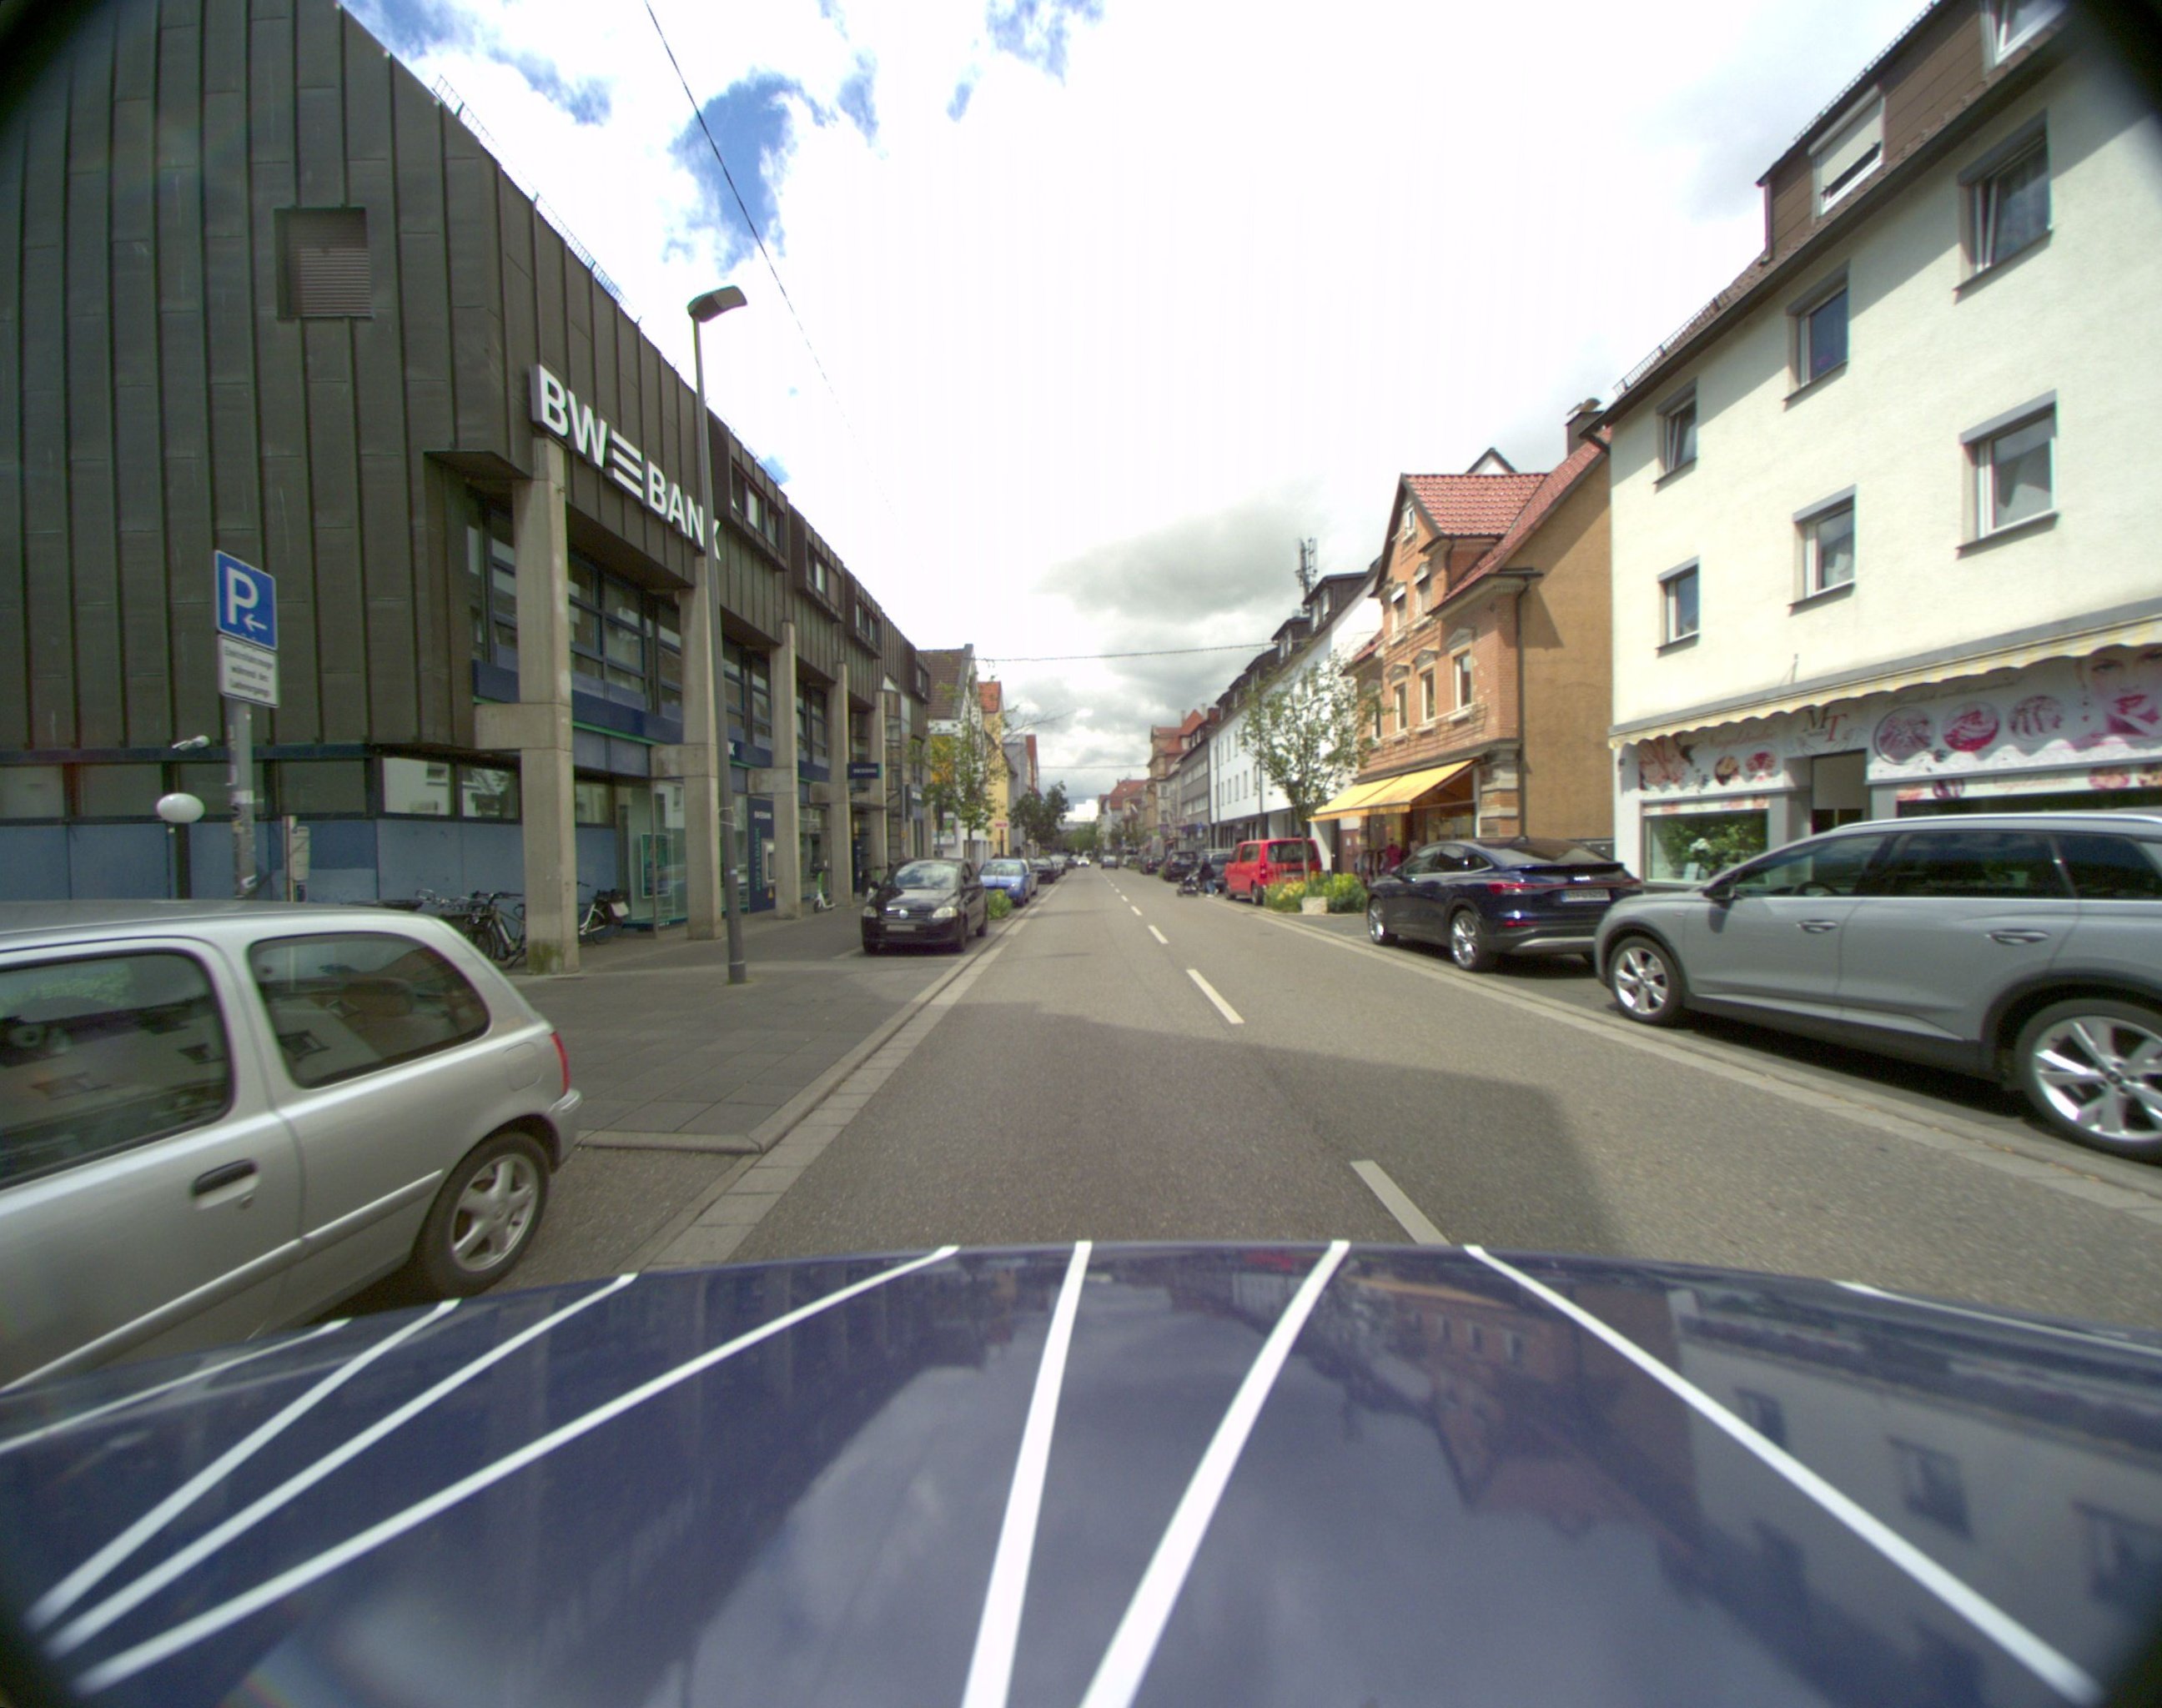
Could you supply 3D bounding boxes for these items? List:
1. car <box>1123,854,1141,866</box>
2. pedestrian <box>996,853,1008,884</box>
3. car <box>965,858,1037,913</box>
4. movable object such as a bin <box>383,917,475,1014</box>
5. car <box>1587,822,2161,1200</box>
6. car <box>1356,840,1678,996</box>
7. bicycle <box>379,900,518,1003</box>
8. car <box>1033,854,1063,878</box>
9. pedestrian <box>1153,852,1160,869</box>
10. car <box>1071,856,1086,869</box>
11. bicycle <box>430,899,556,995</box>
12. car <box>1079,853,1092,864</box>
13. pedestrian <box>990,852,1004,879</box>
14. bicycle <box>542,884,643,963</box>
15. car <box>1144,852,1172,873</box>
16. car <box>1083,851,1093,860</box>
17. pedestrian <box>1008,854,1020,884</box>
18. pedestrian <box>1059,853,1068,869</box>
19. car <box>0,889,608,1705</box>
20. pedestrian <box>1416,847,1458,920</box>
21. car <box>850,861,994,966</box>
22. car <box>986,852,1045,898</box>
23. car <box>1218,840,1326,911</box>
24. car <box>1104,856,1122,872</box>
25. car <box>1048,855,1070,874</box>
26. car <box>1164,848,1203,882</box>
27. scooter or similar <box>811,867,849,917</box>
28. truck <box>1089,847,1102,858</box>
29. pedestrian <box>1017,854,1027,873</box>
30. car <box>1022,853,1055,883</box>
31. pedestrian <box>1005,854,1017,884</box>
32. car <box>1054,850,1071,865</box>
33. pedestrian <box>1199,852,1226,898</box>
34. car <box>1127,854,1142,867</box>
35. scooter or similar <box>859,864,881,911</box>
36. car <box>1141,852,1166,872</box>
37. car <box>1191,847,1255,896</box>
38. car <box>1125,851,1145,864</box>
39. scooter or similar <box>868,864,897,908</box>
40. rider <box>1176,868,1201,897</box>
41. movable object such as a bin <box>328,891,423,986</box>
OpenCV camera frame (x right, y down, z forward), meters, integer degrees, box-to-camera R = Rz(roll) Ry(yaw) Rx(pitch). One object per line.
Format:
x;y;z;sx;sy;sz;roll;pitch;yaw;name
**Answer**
6.768;0.741;101.161;1.850;1.390;4.035;-3;1;-2;car
-4.874;0.894;46.664;0.589;1.830;0.576;-3;1;1;pedestrian
-2.496;0.949;24.608;1.725;1.485;4.109;-3;1;2;car
-7.389;1.249;8.630;0.488;0.993;0.554;-2;1;3;movable object such as a bin
5.410;0.646;4.521;1.804;1.594;4.350;-1;0;-2;car
5.380;0.673;10.181;1.804;1.588;4.389;-2;0;1;car
-8.150;1.215;9.872;0.426;1.113;1.502;-2;1;3;bicycle
-2.295;0.797;53.267;1.725;1.467;4.354;-3;1;2;car
7.689;0.643;77.819;0.549;1.747;0.728;-3;1;-3;pedestrian
-0.305;1.036;94.417;1.724;1.517;3.598;-1;0;1;car
-7.607;1.166;9.909;0.426;1.075;1.502;0;0;3;bicycle
0.683;0.616;112.145;1.804;1.594;4.203;1;0;-1;car
-5.467;0.729;49.413;0.743;1.727;0.757;-3;1;1;pedestrian
-8.085;1.115;12.656;0.426;1.113;1.741;-2;1;3;bicycle
6.109;0.637;60.680;1.794;1.495;4.177;-3;1;0;car
1.380;0.297;153.180;1.536;1.521;3.757;-3;1;-4;car
-4.132;0.903;46.556;0.589;1.830;0.576;-3;1;1;pedestrian
-2.030;0.768;87.020;0.978;1.853;0.864;1;1;-1;pedestrian
-2.946;0.931;1.424;1.613;1.486;3.795;2;0;2;car
8.133;0.662;17.380;0.590;1.623;0.661;-3;1;1;pedestrian
-2.623;0.917;13.359;1.613;1.523;3.795;0;0;2;car
-2.520;0.772;30.311;1.725;1.567;4.429;4;0;2;car
5.690;0.556;23.277;1.821;1.878;4.839;-3;1;-3;car
3.658;1.149;87.408;1.910;1.554;4.645;-3;1;1;car
-1.892;0.913;64.969;1.694;1.463;4.523;-3;-1;-2;car
5.771;0.582;43.193;1.820;1.745;4.669;-2;1;3;car
-6.695;0.991;20.348;0.423;1.238;1.561;-3;1;0;scooter or similar
3.060;-0.373;160.883;2.113;2.292;6.472;-3;1;-5;truck
-4.840;0.750;62.850;0.751;1.544;0.726;-1;1;0;pedestrian
-2.445;0.777;44.036;1.726;1.568;4.107;-3;1;-3;car
-4.359;0.942;47.313;0.589;1.830;0.576;-3;1;1;pedestrian
-2.035;0.356;84.352;1.804;1.594;4.203;1;0;-1;car
4.694;0.736;27.211;0.807;1.565;0.779;-2;1;3;pedestrian
6.297;0.774;89.963;1.590;1.406;3.668;-3;1;2;car
-5.950;0.933;21.432;0.406;1.238;1.323;-3;1;-10;scooter or similar
6.356;0.678;66.948;1.794;1.504;4.712;-3;1;1;car
5.645;0.628;30.653;1.820;1.745;4.463;-3;1;2;car
6.014;0.364;85.277;1.602;1.437;3.554;-2;0;-7;car
-6.010;0.956;23.056;0.423;1.238;1.561;-3;1;0;scooter or similar
3.927;1.046;27.816;0.805;1.007;0.707;-3;1;3;rider
-8.015;0.943;8.649;0.488;0.993;0.554;-2;1;3;movable object such as a bin
